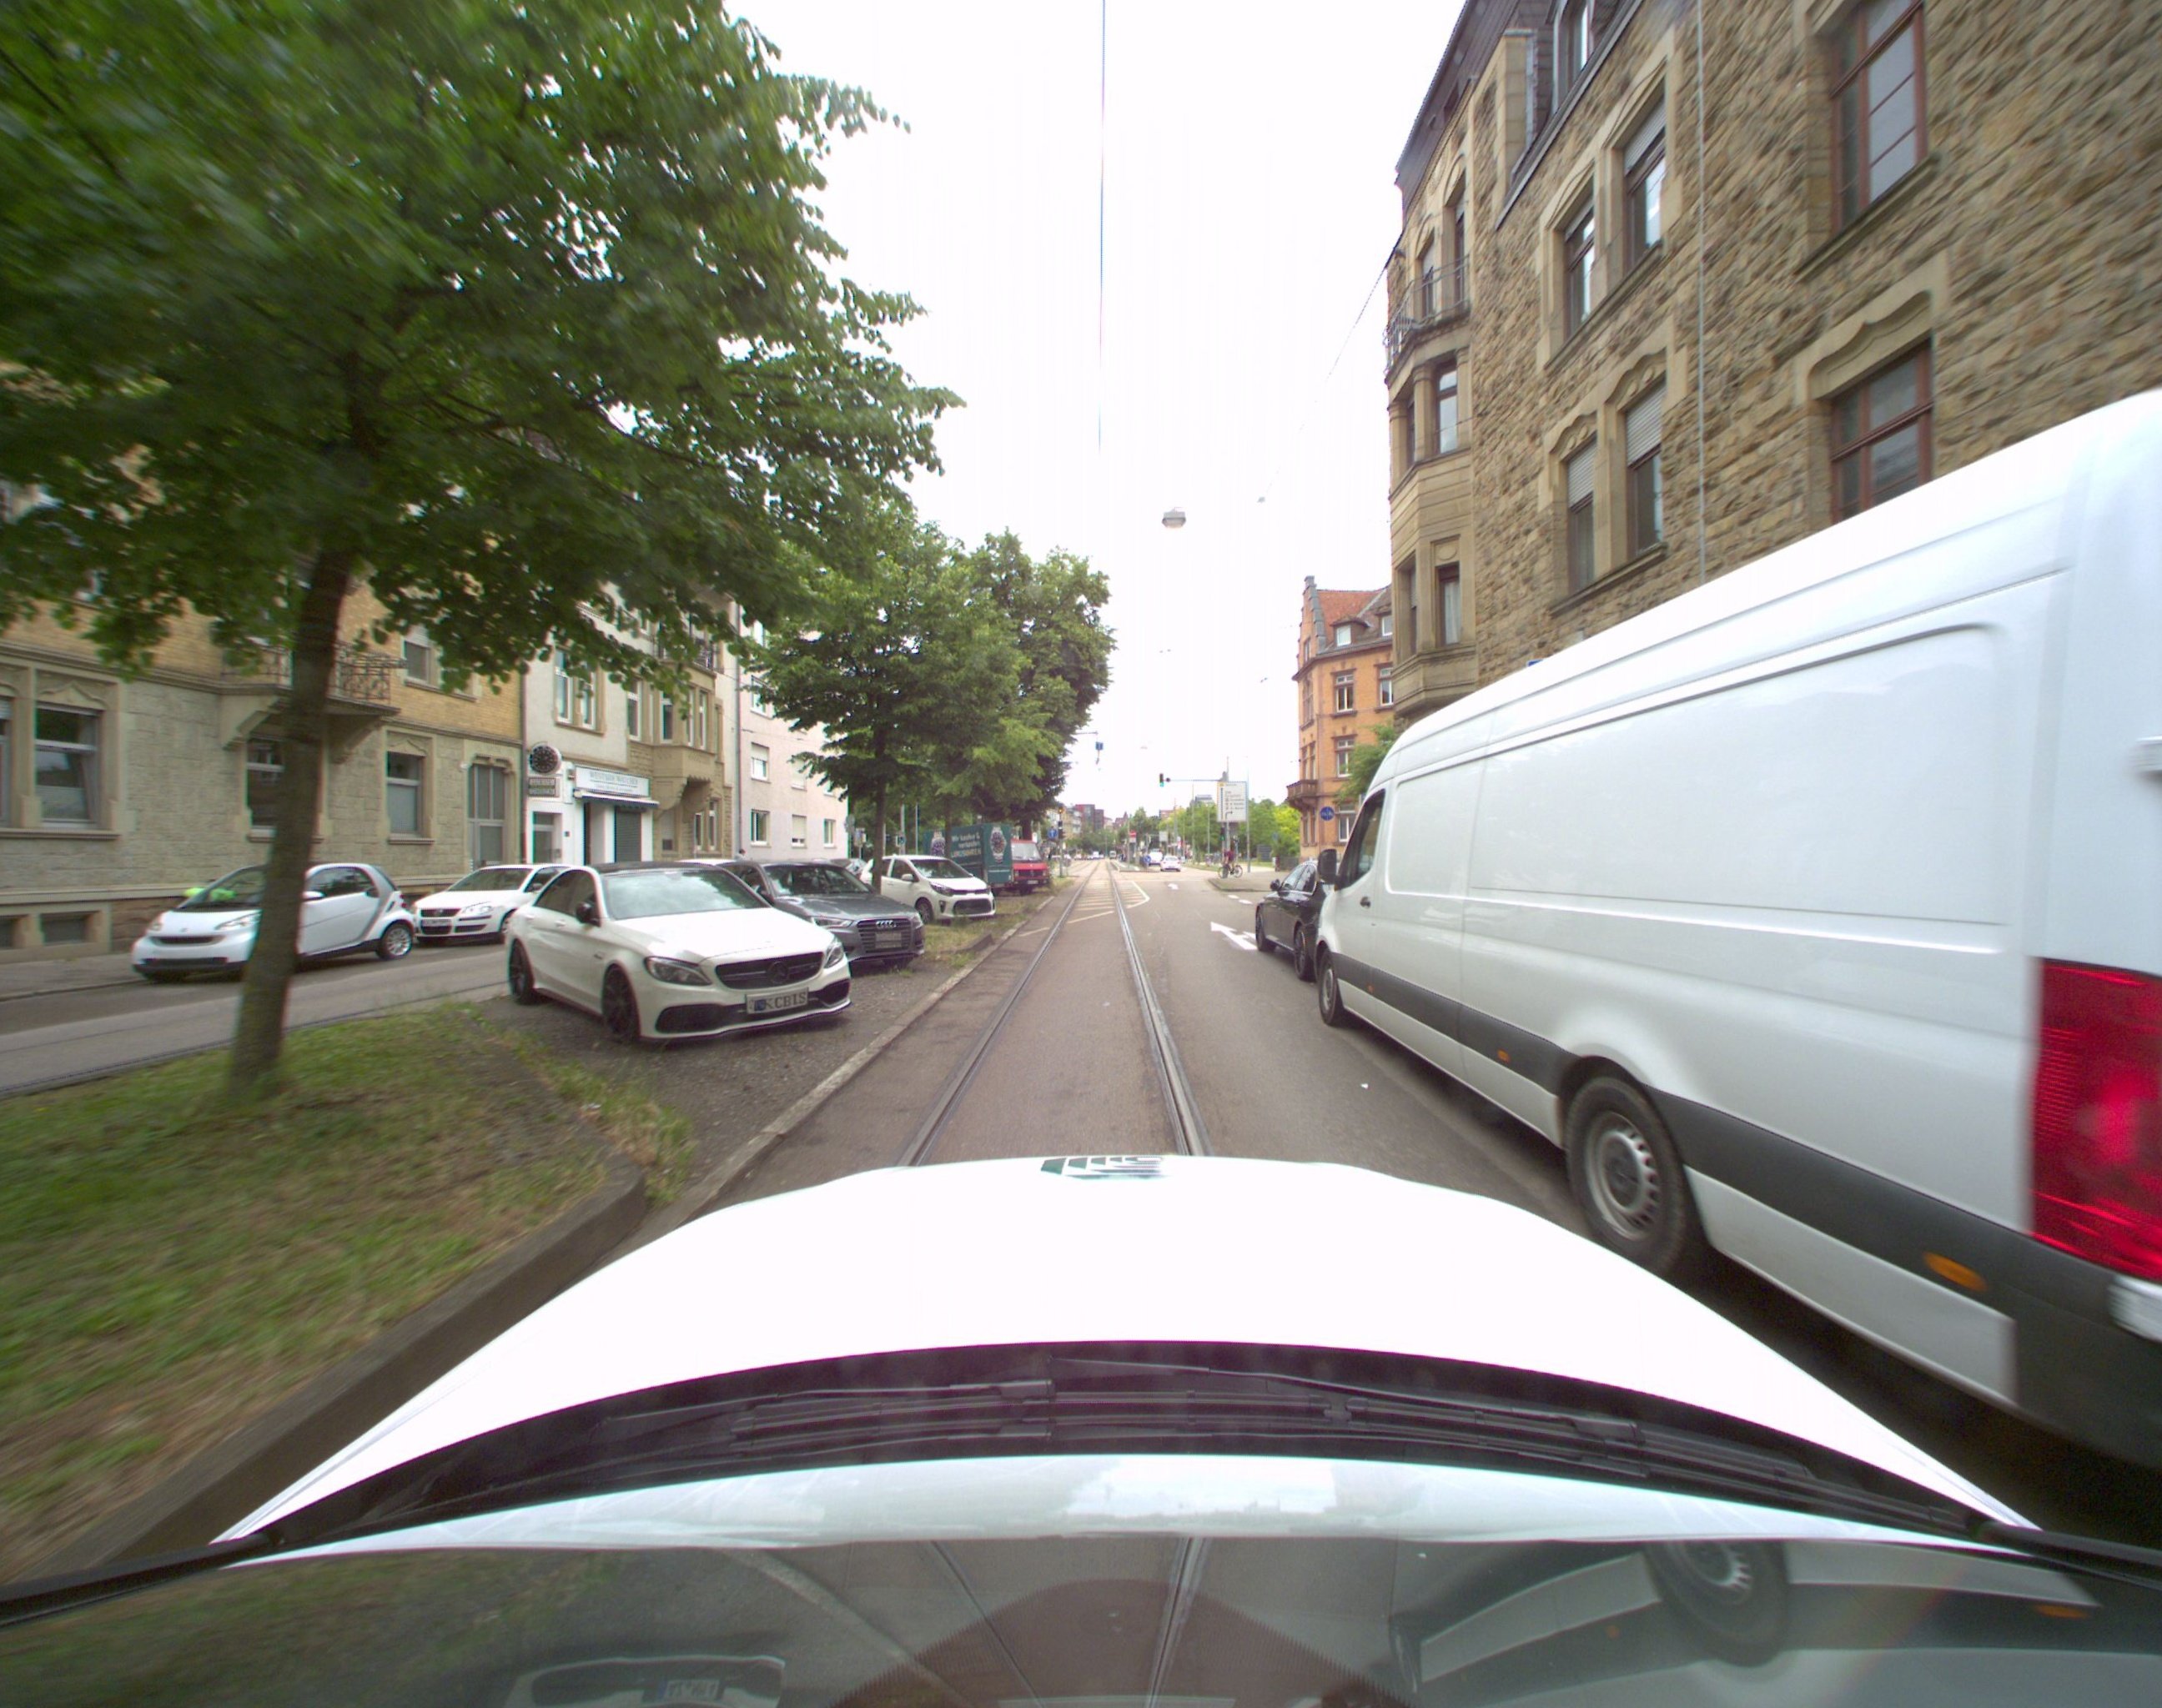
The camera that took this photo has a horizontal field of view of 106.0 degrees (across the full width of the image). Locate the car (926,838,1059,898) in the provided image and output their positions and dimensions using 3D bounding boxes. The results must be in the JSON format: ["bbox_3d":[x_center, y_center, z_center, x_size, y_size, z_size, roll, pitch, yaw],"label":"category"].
[{"bbox_3d":[-3.221,0.489,29.021,4.707,1.974,1.972,-1,0,40],"label":"car"}]

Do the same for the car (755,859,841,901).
[{"bbox_3d":[-10.553,0.932,30.702,1.629,1.443,4.570,0,0,0],"label":"car"}]

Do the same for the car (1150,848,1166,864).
[{"bbox_3d":[9.794,0.219,104.003,1.776,1.962,4.383,0,0,1],"label":"car"}]

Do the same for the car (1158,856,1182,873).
[{"bbox_3d":[8.242,0.979,75.812,1.776,1.472,4.010,0,0,0],"label":"car"}]

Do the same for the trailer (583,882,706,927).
[{"bbox_3d":[-11.058,1.250,20.830,1.449,0.893,3.076,-2,0,0],"label":"trailer"}]

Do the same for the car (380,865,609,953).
[{"bbox_3d":[-11.218,0.975,15.968,1.629,1.443,3.923,0,0,0],"label":"car"}]

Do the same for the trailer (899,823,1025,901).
[{"bbox_3d":[-3.851,0.255,26.174,3.624,2.344,1.943,-1,0,34],"label":"trailer"}]

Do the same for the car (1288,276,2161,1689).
[{"bbox_3d":[3.019,0.245,4.951,2.005,2.549,7.021,1,0,3],"label":"car"}]

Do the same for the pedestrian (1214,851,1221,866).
[{"bbox_3d":[16.617,0.517,99.426,0.737,1.869,0.682,-1,-1,1],"label":"pedestrian"}]

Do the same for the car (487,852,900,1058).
[{"bbox_3d":[-3.967,0.720,7.915,4.628,1.435,1.911,-1,0,41],"label":"car"}]

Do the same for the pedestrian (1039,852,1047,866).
[{"bbox_3d":[-4.471,0.536,95.229,0.672,1.624,0.637,-1,-1,19],"label":"pedestrian"}]

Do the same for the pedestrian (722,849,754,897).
[{"bbox_3d":[-12.951,0.702,30.794,0.795,1.766,0.900,-1,0,0],"label":"pedestrian"}]

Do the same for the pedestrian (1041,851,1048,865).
[{"bbox_3d":[-4.387,0.506,98.335,0.766,1.660,1.024,-1,0,-1],"label":"pedestrian"}]

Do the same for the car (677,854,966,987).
[{"bbox_3d":[-3.671,0.744,11.086,4.286,1.435,1.910,-1,0,44],"label":"car"}]

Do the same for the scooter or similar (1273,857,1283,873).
[{"bbox_3d":[14.027,0.791,58.037,0.375,1.141,1.199,-1,0,-1],"label":"scooter or similar"}]

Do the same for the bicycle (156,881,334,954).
[{"bbox_3d":[-14.215,1.034,13.967,0.708,1.073,2.259,0,0,0],"label":"bicycle"}]

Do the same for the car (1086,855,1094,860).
[{"bbox_3d":[2.709,1.067,237.773,1.760,1.493,3.895,-1,-1,8],"label":"car"}]

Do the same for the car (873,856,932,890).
[{"bbox_3d":[-7.668,0.800,35.339,1.638,1.382,3.884,0,-1,1],"label":"car"}]

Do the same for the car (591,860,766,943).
[{"bbox_3d":[-8.137,0.883,16.886,1.638,1.504,3.884,0,-1,1],"label":"car"}]

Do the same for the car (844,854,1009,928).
[{"bbox_3d":[-3.515,0.759,18.152,3.815,1.463,1.700,-1,0,44],"label":"car"}]

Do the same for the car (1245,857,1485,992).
[{"bbox_3d":[3.586,0.771,11.342,1.816,1.450,5.010,0,0,3],"label":"car"}]

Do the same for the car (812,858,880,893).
[{"bbox_3d":[-10.351,0.889,36.189,1.629,1.443,4.762,0,0,0],"label":"car"}]

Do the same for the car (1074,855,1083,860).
[{"bbox_3d":[-0.599,0.942,213.906,1.760,1.493,3.895,-1,-1,8],"label":"car"}]

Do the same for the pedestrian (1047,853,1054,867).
[{"bbox_3d":[-3.544,0.696,94.766,0.699,1.715,0.697,-1,-1,-7],"label":"pedestrian"}]

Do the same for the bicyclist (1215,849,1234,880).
[{"bbox_3d":[8.450,0.589,47.946,0.684,1.795,0.882,0,0,-30],"label":"bicyclist"}]

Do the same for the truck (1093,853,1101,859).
[{"bbox_3d":[5.014,0.620,251.005,1.778,2.032,5.407,-1,-1,8],"label":"truck"}]

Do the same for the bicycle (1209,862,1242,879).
[{"bbox_3d":[8.481,0.965,47.886,1.874,0.924,0.789,0,0,-31],"label":"bicycle"}]

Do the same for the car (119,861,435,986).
[{"bbox_3d":[-11.328,0.886,11.768,1.629,1.550,2.951,0,0,0],"label":"car"}]
